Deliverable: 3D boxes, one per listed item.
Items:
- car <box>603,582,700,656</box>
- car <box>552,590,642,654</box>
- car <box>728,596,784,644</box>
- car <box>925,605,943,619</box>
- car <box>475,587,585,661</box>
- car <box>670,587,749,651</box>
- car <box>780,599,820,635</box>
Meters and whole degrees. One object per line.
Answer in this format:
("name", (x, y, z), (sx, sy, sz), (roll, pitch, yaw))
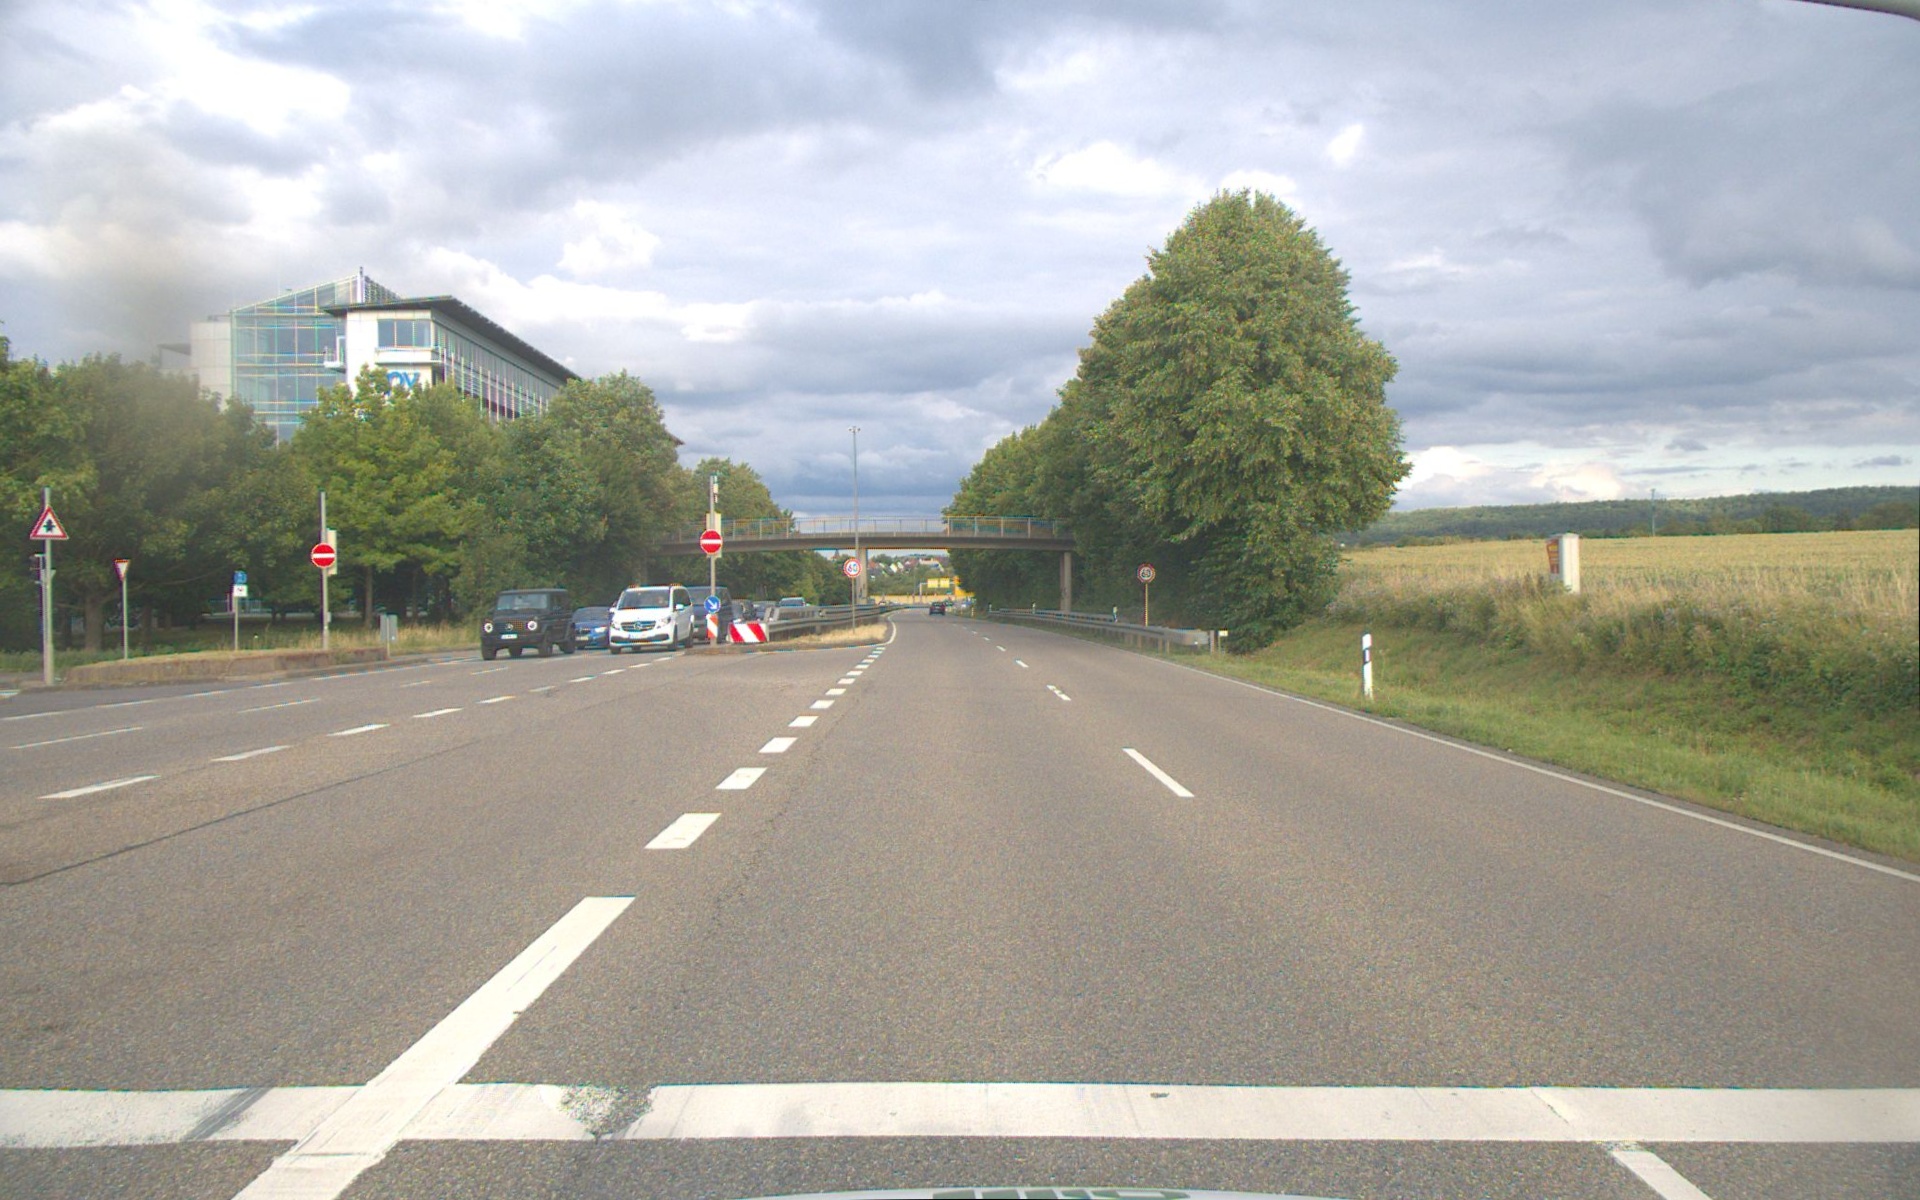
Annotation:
("car", (-9.102, 0.544, 49.192), (2.041, 2.049, 5.214), (1, 0, -2))
("car", (-12.326, 0.729, 56.531), (2.041, 2.049, 5.214), (1, 0, -2))
("car", (-9.247, 0.894, 75.468), (2.041, 2.049, 5.214), (1, 0, -2))
("car", (-3.033, 1.394, 192.077), (1.842, 1.579, 3.997), (1, 0, -4))
("car", (-12.661, 0.682, 49.025), (2.041, 2.049, 5.214), (1, 0, -2))
("car", (-8.561, 0.640, 56.935), (2.041, 2.049, 5.214), (1, 0, -2))
("car", (-9.605, 1.014, 99.414), (2.041, 2.049, 5.214), (1, 0, -2))
